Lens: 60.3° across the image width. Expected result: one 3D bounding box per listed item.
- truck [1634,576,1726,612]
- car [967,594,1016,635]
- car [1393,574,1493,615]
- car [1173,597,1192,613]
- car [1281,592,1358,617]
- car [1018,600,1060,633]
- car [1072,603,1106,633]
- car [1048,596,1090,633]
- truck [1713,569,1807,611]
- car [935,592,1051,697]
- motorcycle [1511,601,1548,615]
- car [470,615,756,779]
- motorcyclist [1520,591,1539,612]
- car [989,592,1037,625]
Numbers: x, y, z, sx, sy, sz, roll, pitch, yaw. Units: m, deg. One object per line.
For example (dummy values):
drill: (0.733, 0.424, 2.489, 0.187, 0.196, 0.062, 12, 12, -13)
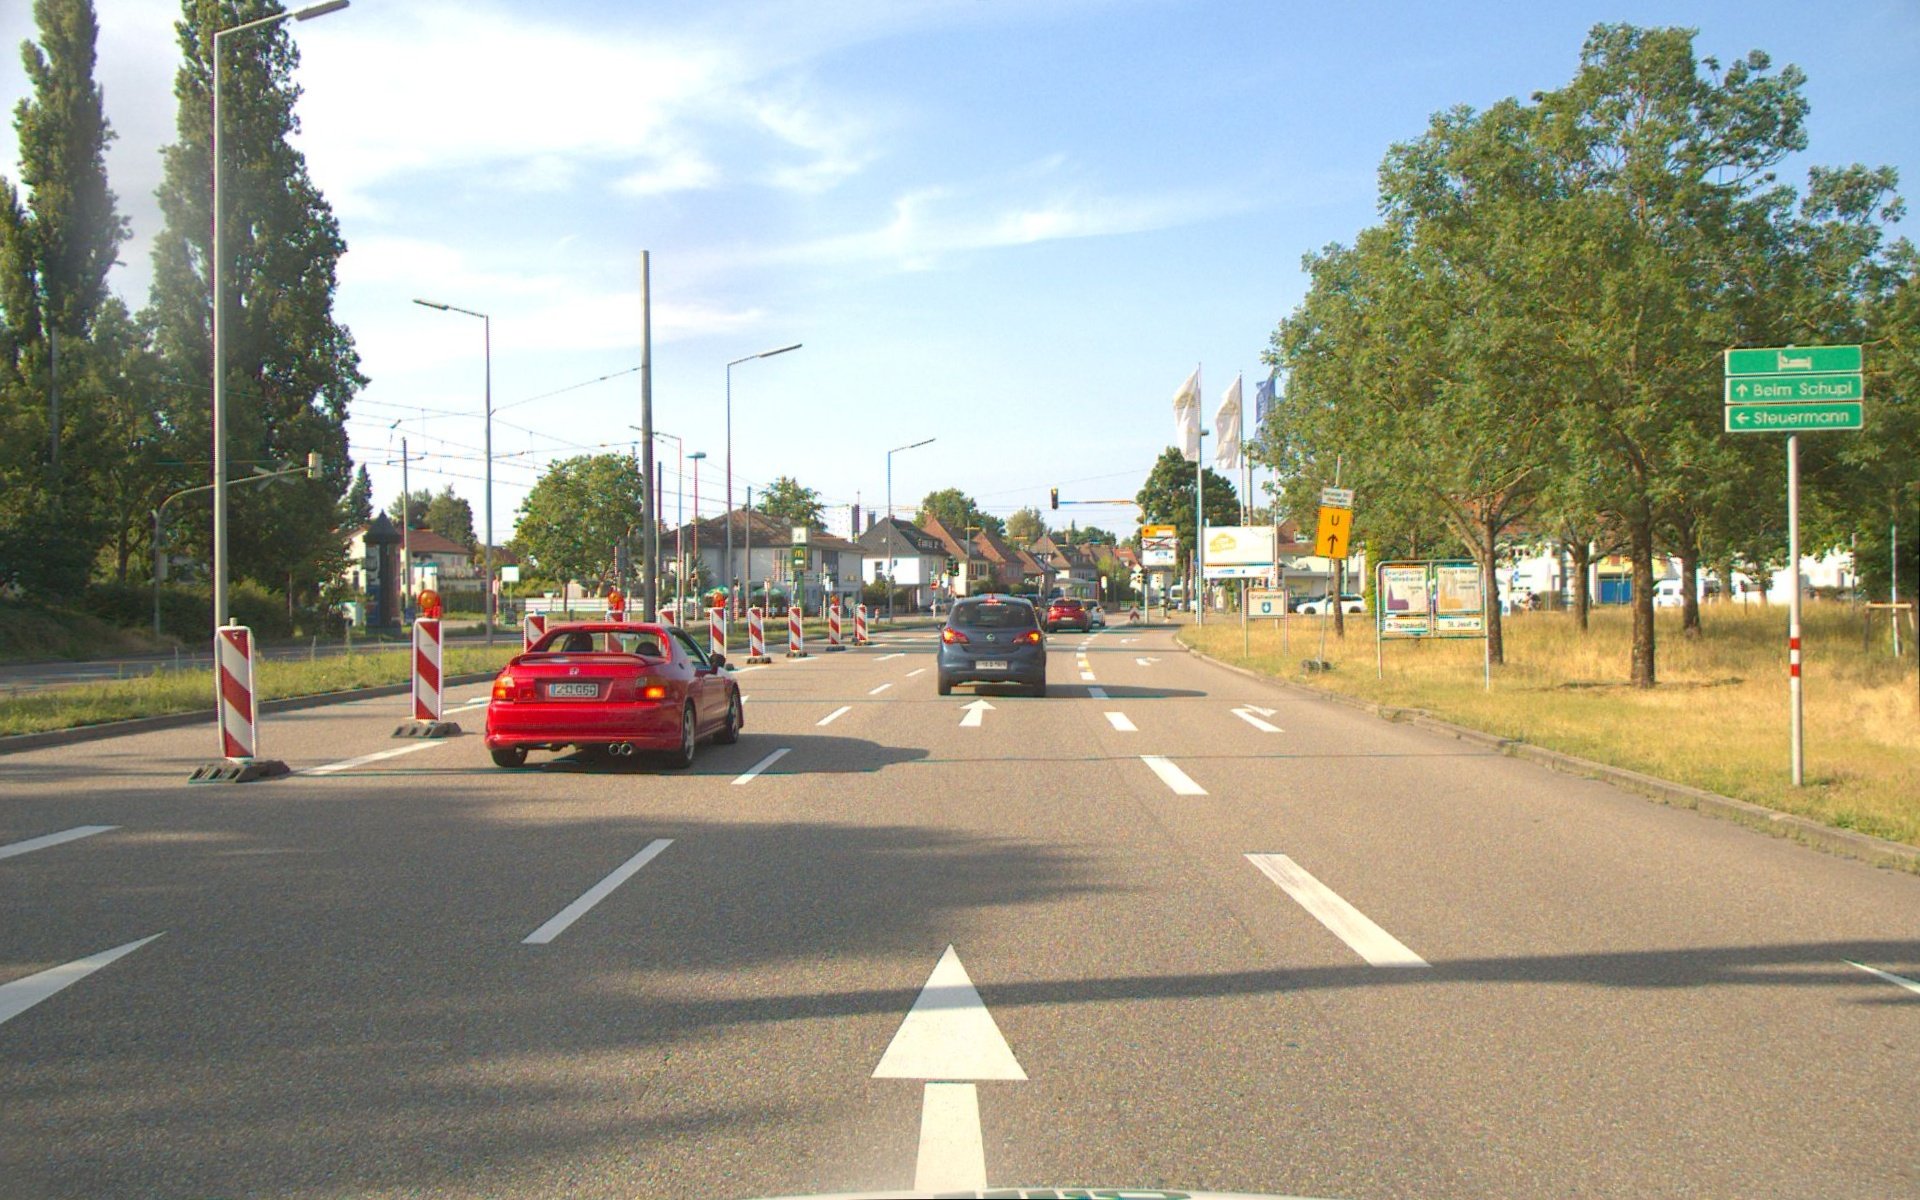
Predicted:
truck: (52.704, -0.441, 121.274, 2.242, 2.568, 6.306, -1, 1, -25)
car: (1.390, 0.613, 71.139, 1.726, 1.700, 4.087, 0, 0, 6)
car: (31.867, -0.365, 109.246, 6.075, 2.629, 2.002, -1, 0, 9)
car: (21.464, 0.474, 159.686, 1.639, 1.422, 4.003, 1, -1, 10)
car: (23.969, 0.278, 110.452, 4.986, 1.590, 1.841, -1, 0, 10)
car: (4.183, 0.851, 87.332, 1.474, 1.680, 4.748, -1, 0, 12)
car: (6.800, 0.926, 87.023, 1.621, 1.468, 4.017, -1, 0, 7)
car: (4.887, 0.621, 73.615, 1.670, 1.579, 3.980, -1, 0, 6)
truck: (58.525, -0.714, 121.048, 1.875, 2.904, 6.000, 0, 0, -36)
car: (0.507, 0.643, 26.463, 1.706, 1.532, 4.223, -1, 0, 0)
motorcycle: (37.035, 0.545, 107.592, 2.222, 0.882, 0.691, -1, 0, 8)
car: (-3.030, 0.796, 15.238, 1.695, 1.227, 3.848, 1, 0, 2)
motorcyclist: (37.031, 0.115, 107.588, 1.043, 1.375, 0.680, -1, 0, 8)
car: (2.588, 0.404, 79.925, 1.663, 1.534, 4.557, 0, 0, 10)
